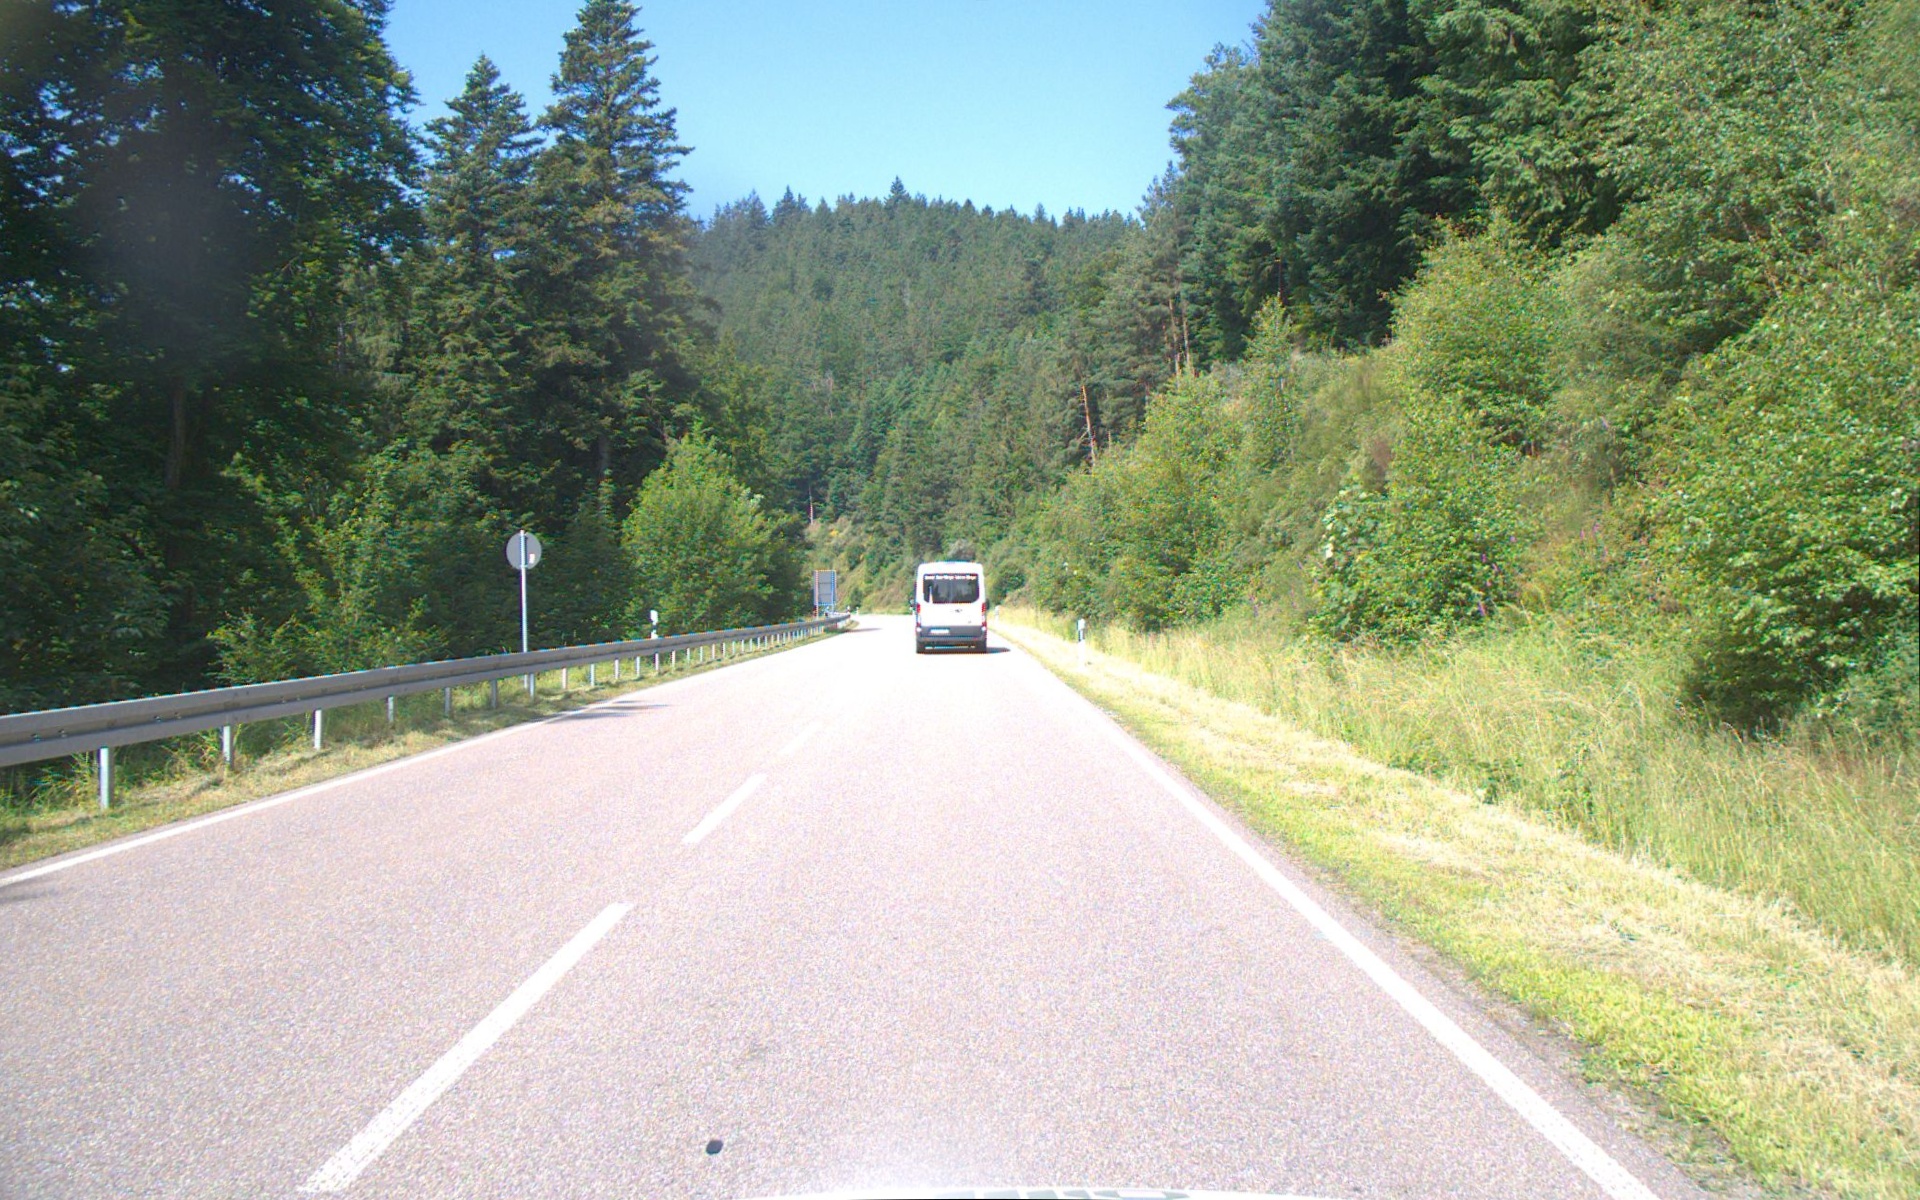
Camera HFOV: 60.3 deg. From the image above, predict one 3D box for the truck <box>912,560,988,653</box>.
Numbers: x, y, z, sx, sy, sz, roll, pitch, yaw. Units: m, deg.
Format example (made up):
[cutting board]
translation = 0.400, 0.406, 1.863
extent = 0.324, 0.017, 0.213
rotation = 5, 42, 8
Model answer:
[truck]
translation = -0.301, 0.184, 47.136
extent = 2.041, 2.503, 4.874
rotation = 0, 0, -1
